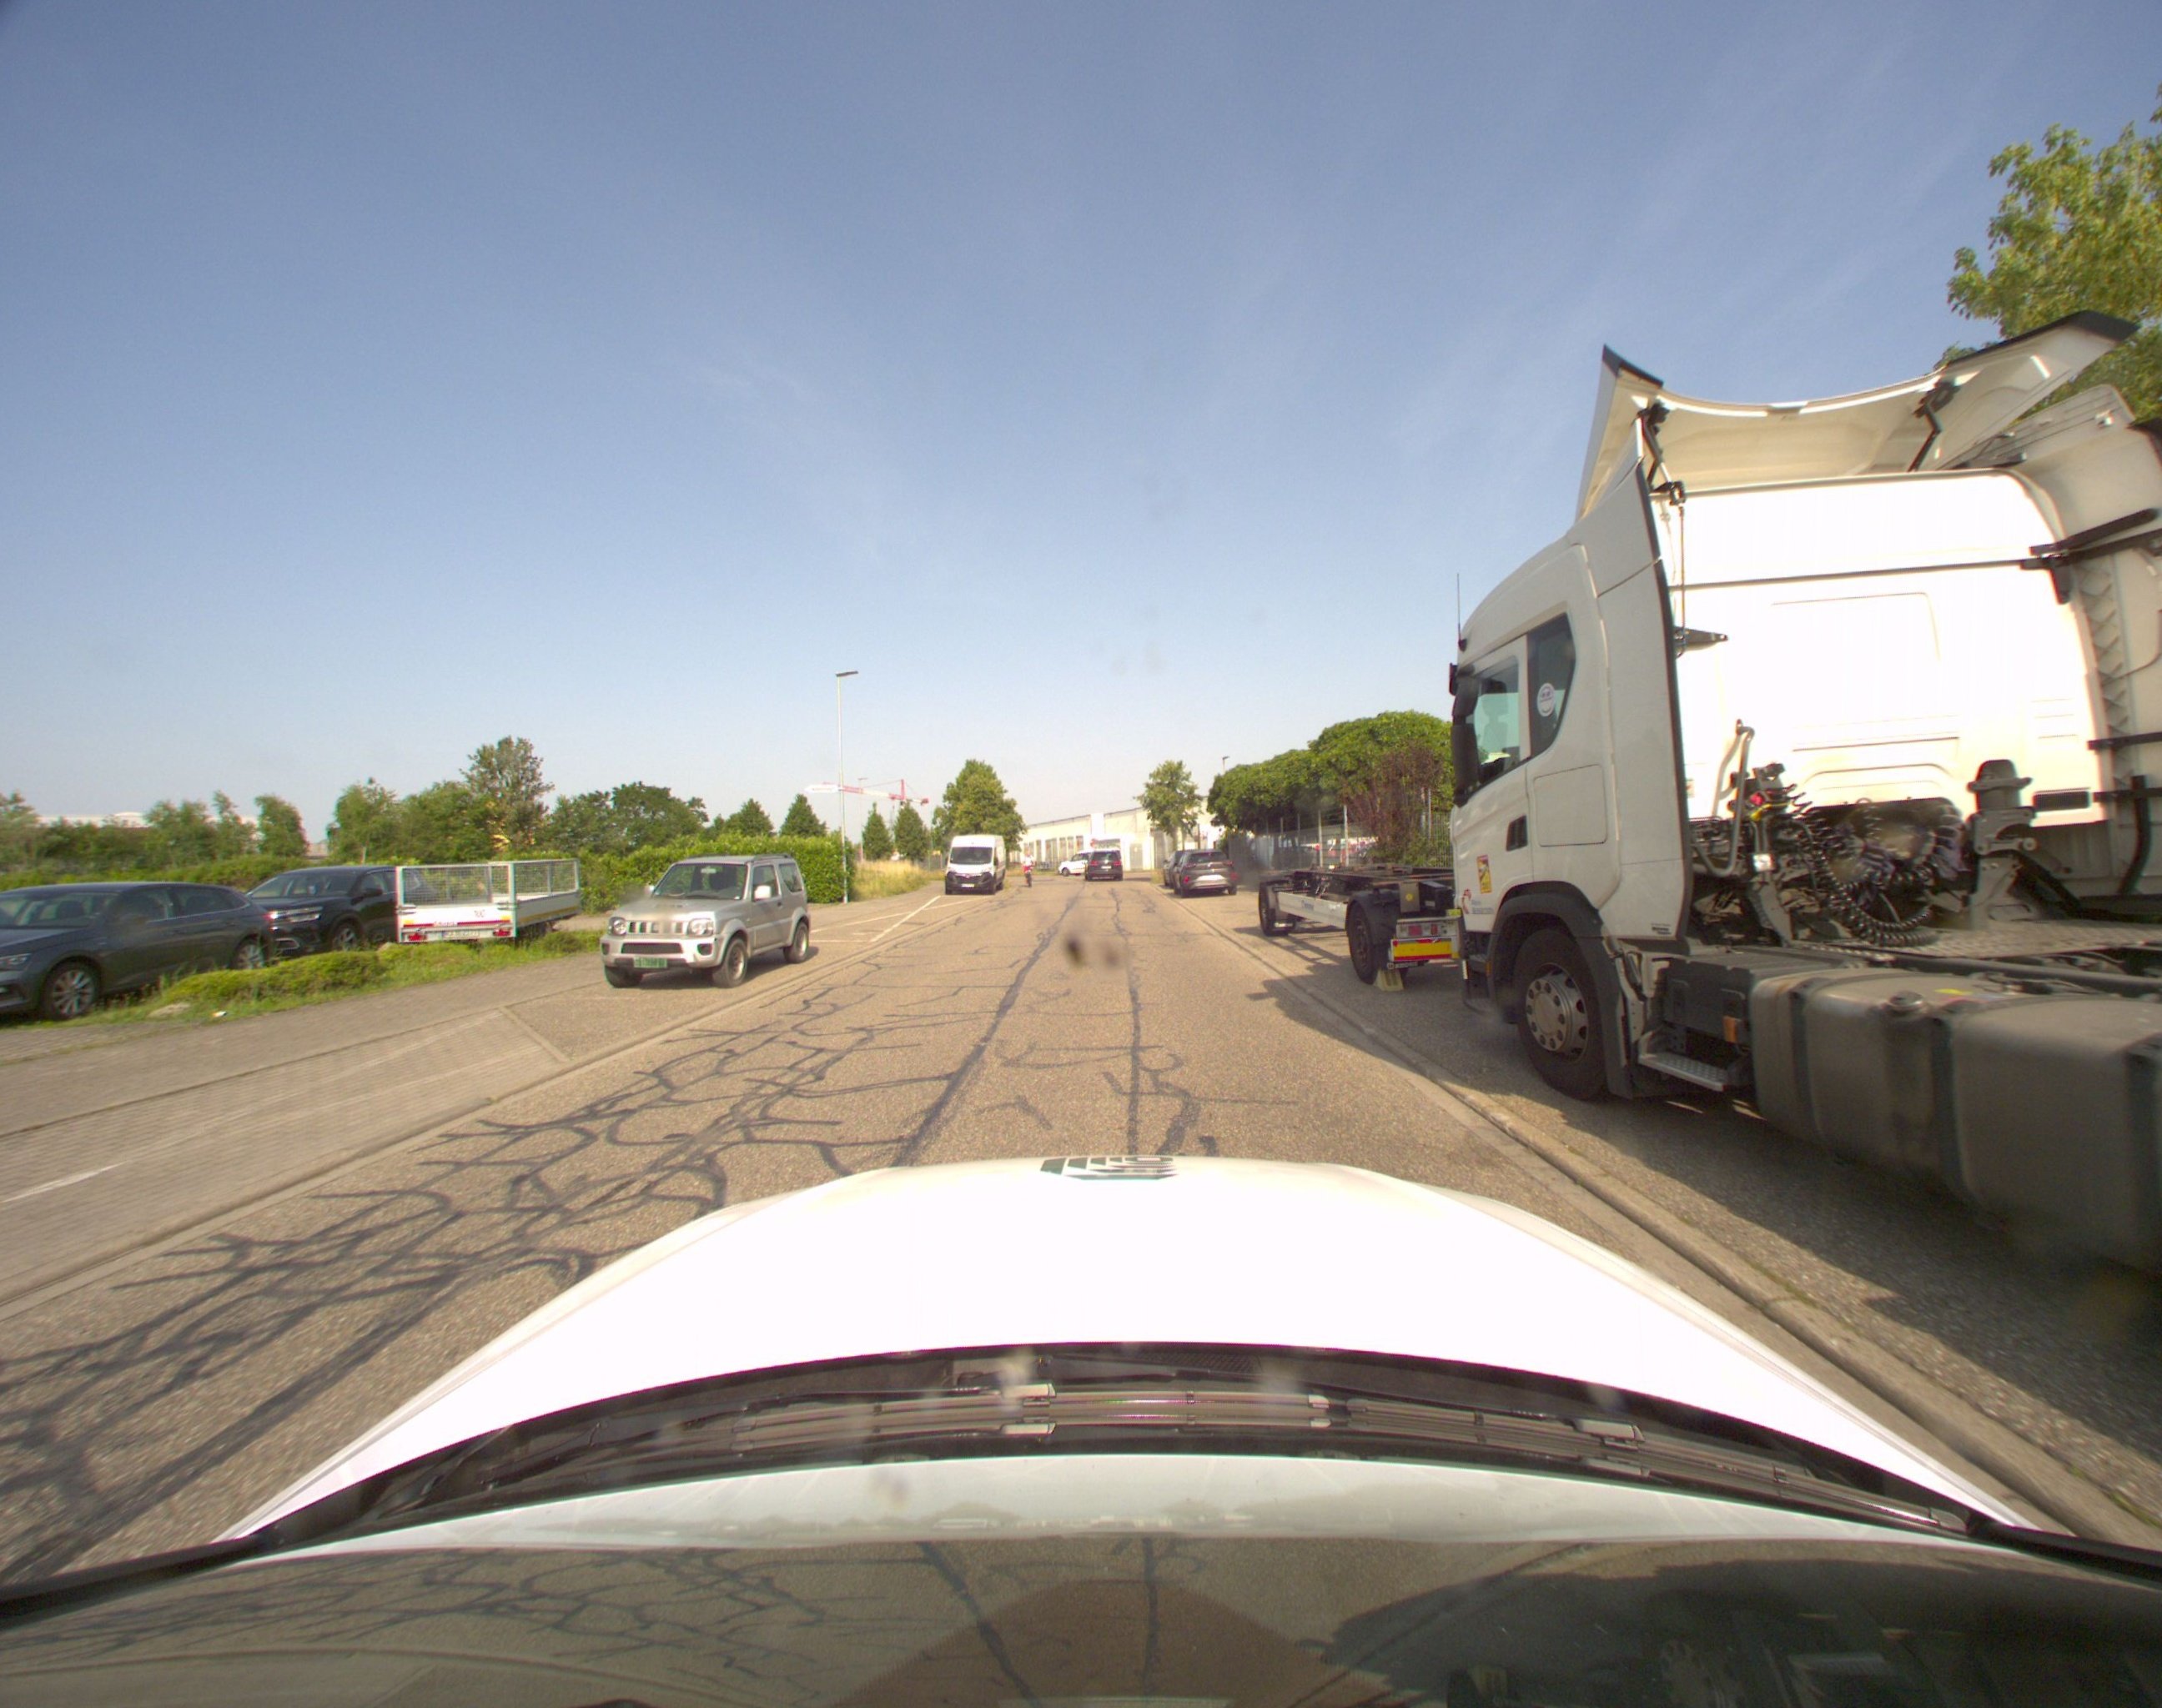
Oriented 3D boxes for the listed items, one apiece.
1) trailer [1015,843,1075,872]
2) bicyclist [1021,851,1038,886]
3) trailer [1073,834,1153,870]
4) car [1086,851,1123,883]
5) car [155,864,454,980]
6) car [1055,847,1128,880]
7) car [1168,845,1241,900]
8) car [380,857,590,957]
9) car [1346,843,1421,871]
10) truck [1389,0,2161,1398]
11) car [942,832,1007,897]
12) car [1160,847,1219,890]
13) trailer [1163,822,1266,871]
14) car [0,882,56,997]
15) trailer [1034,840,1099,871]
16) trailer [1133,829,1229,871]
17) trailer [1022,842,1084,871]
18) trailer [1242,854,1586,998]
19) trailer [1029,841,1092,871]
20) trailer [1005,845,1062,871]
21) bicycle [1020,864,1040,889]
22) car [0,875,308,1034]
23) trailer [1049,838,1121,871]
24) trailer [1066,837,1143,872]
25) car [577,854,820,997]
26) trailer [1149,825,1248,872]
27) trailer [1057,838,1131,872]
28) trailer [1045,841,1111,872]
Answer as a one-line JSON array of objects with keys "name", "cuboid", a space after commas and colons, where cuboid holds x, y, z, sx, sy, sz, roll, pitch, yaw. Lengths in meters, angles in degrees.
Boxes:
[{"name": "trailer", "cuboid": [-5.004, 0.504, 114.411, 7.995, 3.894, 2.755, 0, -1, -22]}, {"name": "bicyclist", "cuboid": [-2.564, 0.727, 40.660, 0.637, 1.719, 1.166, -2, 0, 2]}, {"name": "trailer", "cuboid": [3.626, -0.184, 90.663, 8.570, 3.894, 2.755, 0, -1, -22]}, {"name": "car", "cuboid": [1.323, 0.706, 45.113, 1.873, 1.586, 4.115, -2, -1, 2]}, {"name": "car", "cuboid": [-13.441, 1.043, 14.554, 1.993, 1.658, 4.398, -2, 0, -16]}, {"name": "car", "cuboid": [0.722, 0.671, 57.402, 4.568, 2.110, 2.140, -3, -1, 23]}, {"name": "car", "cuboid": [4.033, 0.602, 27.245, 1.874, 1.574, 4.115, -3, -1, 2]}, {"name": "car", "cuboid": [-10.699, 0.852, 14.991, 1.836, 1.572, 3.797, 0, -1, -15]}, {"name": "car", "cuboid": [19.255, 0.144, 51.881, 4.269, 1.625, 1.865, -2, 1, -20]}, {"name": "truck", "cuboid": [3.877, -0.725, 3.301, 2.683, 3.964, 6.047, -4, 0, 0]}, {"name": "car", "cuboid": [-4.601, 0.431, 36.196, 2.096, 2.595, 6.500, 0, 0, -1]}, {"name": "car", "cuboid": [4.461, 0.599, 34.168, 1.873, 1.574, 5.121, -4, -1, 2]}, {"name": "trailer", "cuboid": [11.695, -0.664, 71.477, 8.565, 3.894, 2.756, -2, -3, -20]}, {"name": "car", "cuboid": [-14.499, 1.129, 9.064, 1.683, 1.476, 4.324, -2, 0, -18]}, {"name": "trailer", "cuboid": [-1.835, 0.174, 105.613, 7.995, 3.894, 2.755, 0, -1, -22]}, {"name": "trailer", "cuboid": [9.480, -0.371, 77.068, 8.767, 3.761, 2.770, -1, -1, -22]}, {"name": "trailer", "cuboid": [-3.823, 0.314, 111.613, 7.995, 3.894, 2.755, 0, -1, -22]}, {"name": "trailer", "cuboid": [3.897, 0.687, 11.455, 1.931, 1.235, 7.454, -4, 0, 2]}, {"name": "trailer", "cuboid": [-2.697, 0.253, 108.399, 7.995, 3.894, 2.755, 0, -1, -22]}, {"name": "trailer", "cuboid": [-7.017, 0.604, 120.869, 7.995, 3.894, 2.755, 0, -1, -22]}, {"name": "bicycle", "cuboid": [-2.531, 1.118, 40.710, 0.713, 1.122, 2.220, -5, 0, 2]}, {"name": "car", "cuboid": [-11.976, 1.063, 9.830, 1.980, 1.476, 4.398, -2, 0, -16]}, {"name": "trailer", "cuboid": [0.485, 0.077, 99.341, 8.341, 3.894, 2.755, 0, -1, -22]}, {"name": "trailer", "cuboid": [2.742, 0.103, 93.693, 8.570, 3.894, 2.755, 0, -1, -22]}, {"name": "car", "cuboid": [-5.121, 0.849, 11.484, 1.591, 1.651, 3.646, 1, 0, 2]}, {"name": "trailer", "cuboid": [10.703, -0.512, 74.287, 8.567, 3.893, 2.756, -3, 0, -21]}, {"name": "trailer", "cuboid": [1.520, 0.178, 96.299, 8.341, 3.894, 2.755, 0, -1, -22]}, {"name": "trailer", "cuboid": [-0.369, 0.316, 103.172, 8.065, 3.894, 2.755, 0, -1, -22]}]
